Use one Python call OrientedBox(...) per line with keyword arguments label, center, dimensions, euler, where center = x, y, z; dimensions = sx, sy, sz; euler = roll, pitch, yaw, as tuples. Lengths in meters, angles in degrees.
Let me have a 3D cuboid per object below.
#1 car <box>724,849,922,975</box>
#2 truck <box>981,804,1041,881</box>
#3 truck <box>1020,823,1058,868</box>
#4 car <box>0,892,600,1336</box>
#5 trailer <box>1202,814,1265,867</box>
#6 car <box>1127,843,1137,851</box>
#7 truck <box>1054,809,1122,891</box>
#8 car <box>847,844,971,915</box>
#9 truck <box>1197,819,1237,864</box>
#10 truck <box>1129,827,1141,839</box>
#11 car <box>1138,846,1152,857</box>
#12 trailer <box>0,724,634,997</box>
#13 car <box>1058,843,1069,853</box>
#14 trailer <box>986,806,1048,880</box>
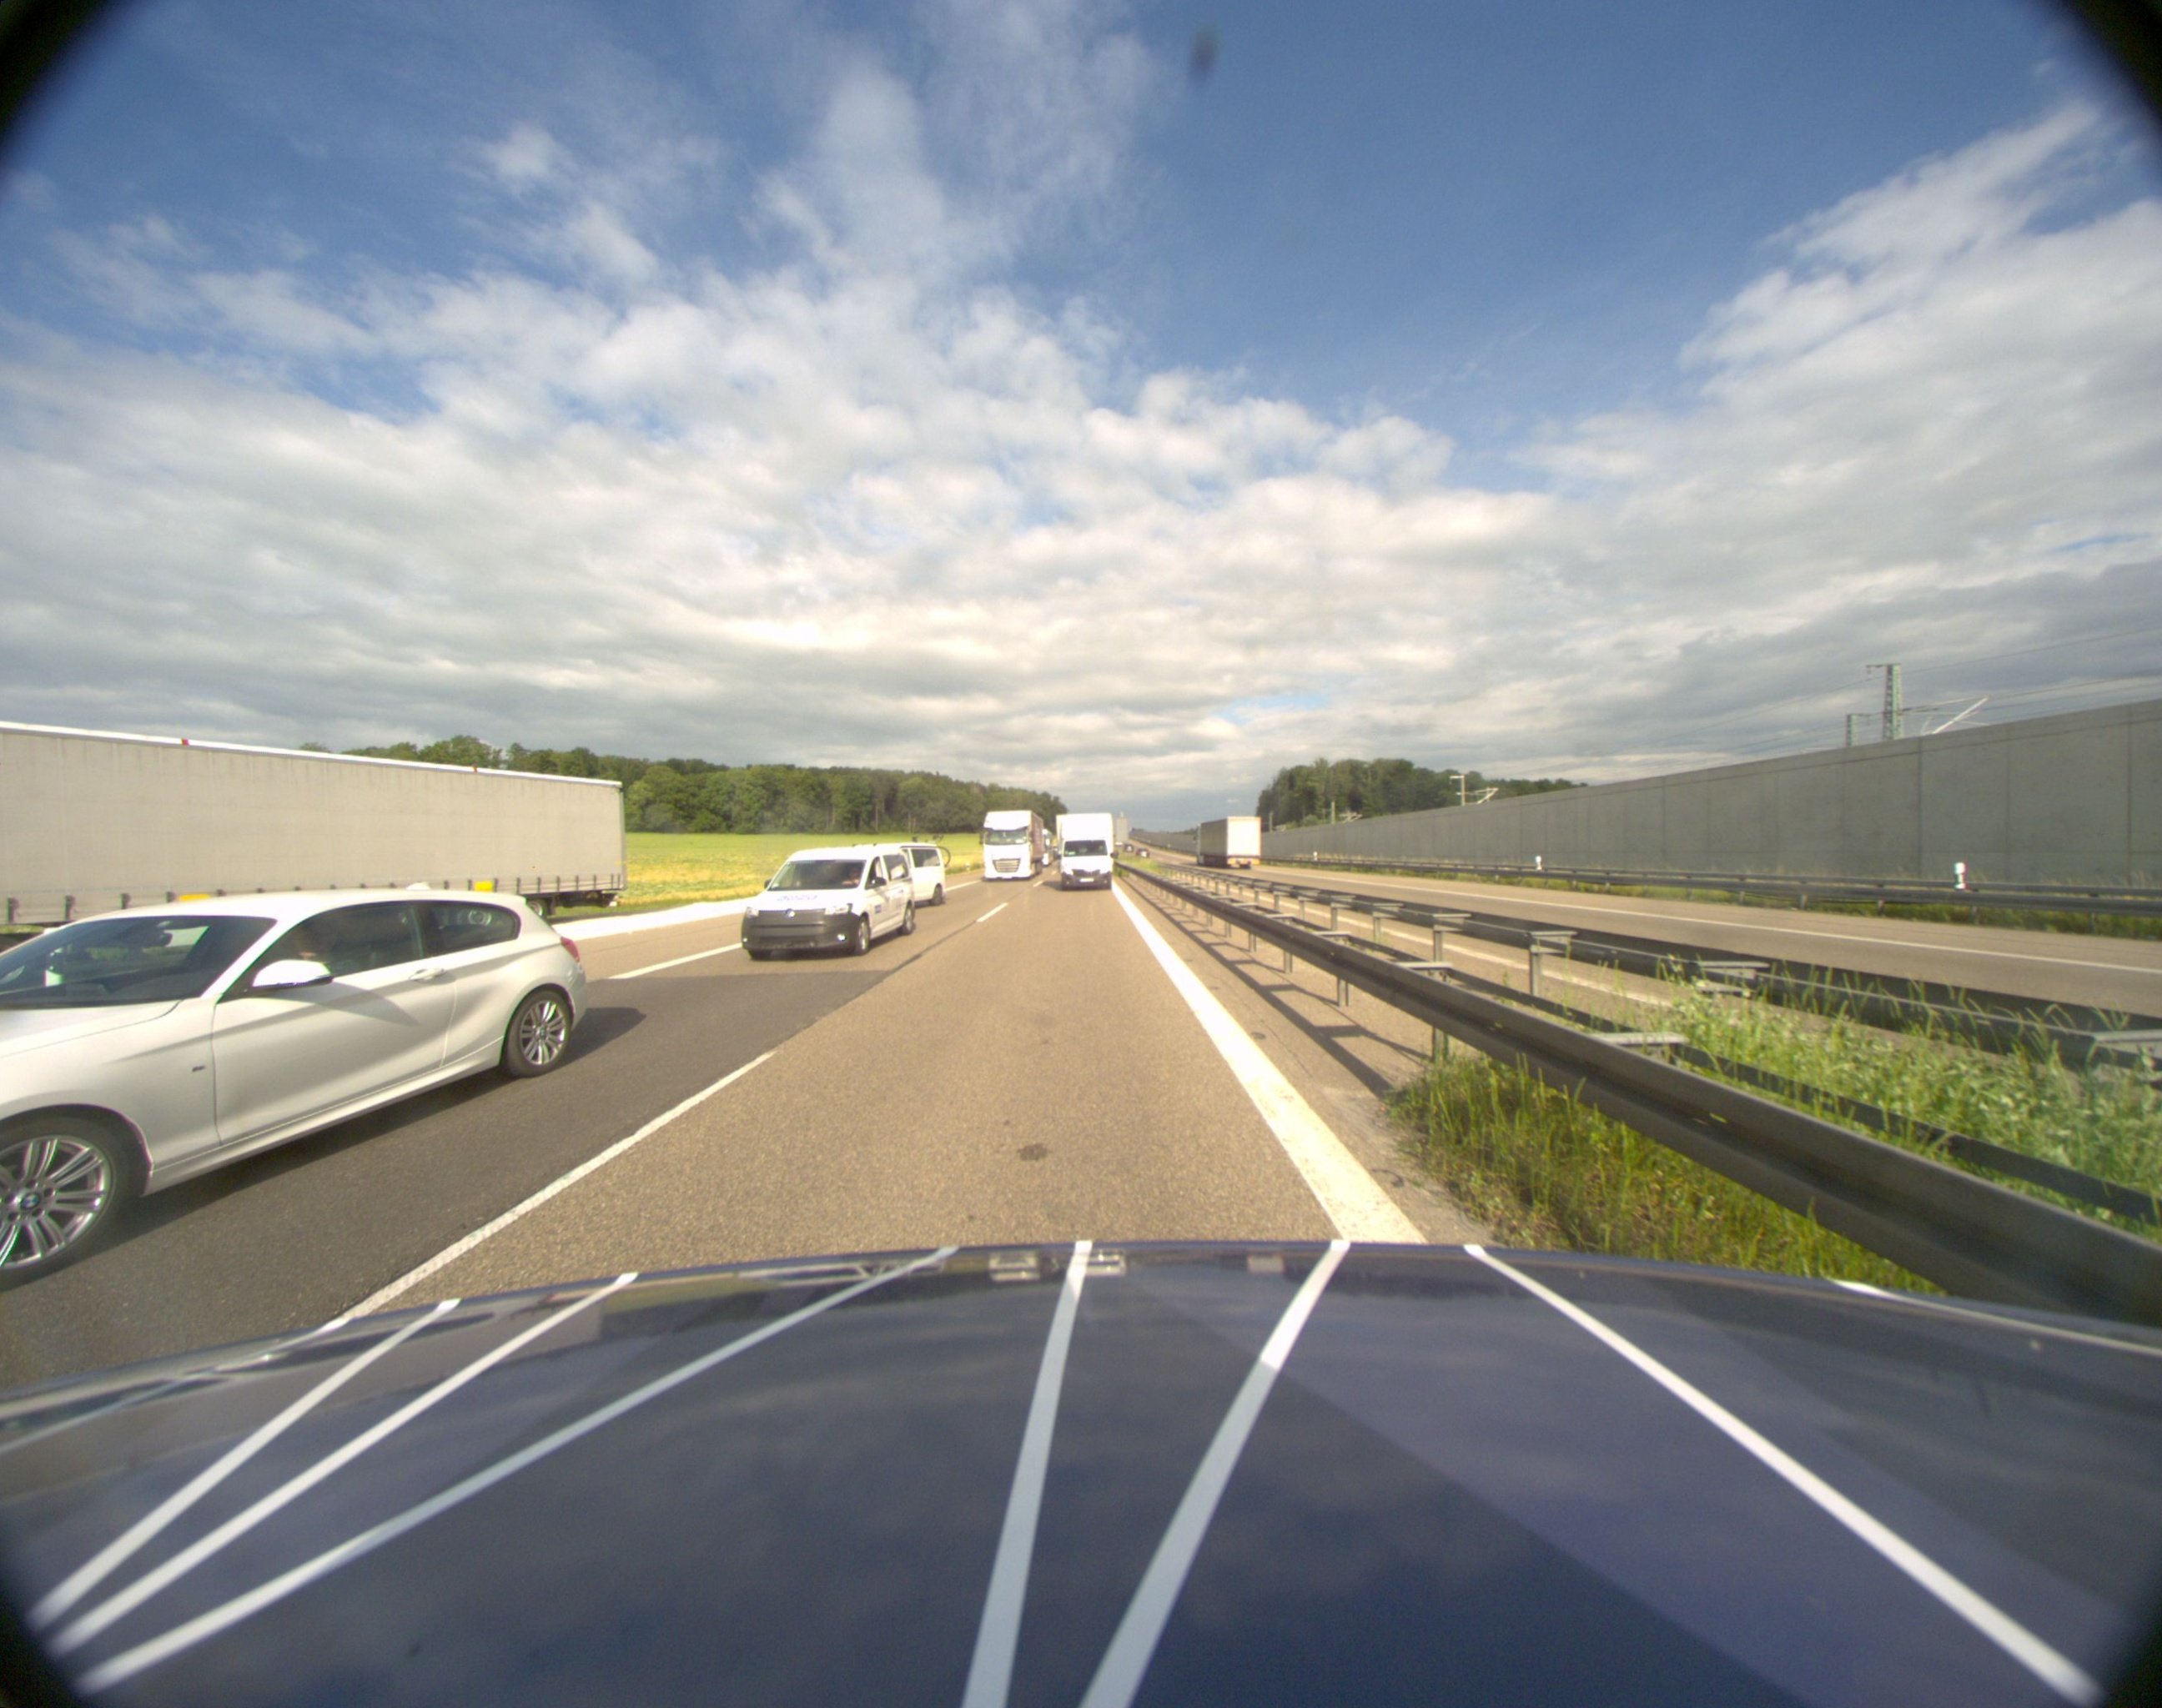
OrientedBox(label="car", center=(-4.243, 0.828, 13.396), dimensions=(1.729, 1.746, 4.702), euler=(-3, 0, 1))
OrientedBox(label="truck", center=(-3.994, -0.684, 44.503), dimensions=(2.736, 4.150, 5.766), euler=(-2, 1, 0))
OrientedBox(label="truck", center=(-4.077, -0.861, 76.460), dimensions=(2.946, 4.094, 12.523), euler=(-1, 0, 0))
OrientedBox(label="car", center=(-4.809, 1.067, 4.053), dimensions=(1.708, 1.424, 4.232), euler=(-2, 0, 1))
OrientedBox(label="trailer", center=(12.689, -1.103, 64.722), dimensions=(2.690, 4.014, 13.790), euler=(-1, 0, 0))
OrientedBox(label="car", center=(9.814, -1.320, 146.128), dimensions=(1.720, 1.586, 4.449), euler=(-1, 0, 1))
OrientedBox(label="truck", center=(0.317, -0.185, 35.190), dimensions=(2.500, 3.082, 12.037), euler=(-2, 0, 0))
OrientedBox(label="car", center=(-5.218, 0.695, 23.969), dimensions=(1.798, 1.914, 5.270), euler=(-2, 0, 10))
OrientedBox(label="truck", center=(12.754, -1.166, 71.656), dimensions=(2.692, 4.045, 5.878), euler=(-1, 1, 1))
OrientedBox(label="truck", center=(18.548, -7.220, 262.373), dimensions=(2.952, 4.037, 11.745), euler=(-2, 1, 0))
OrientedBox(label="car", center=(8.779, -0.376, 104.396), dimensions=(1.637, 1.393, 3.896), euler=(-1, 0, 0))
OrientedBox(label="trailer", center=(-16.511, 0.083, 16.187), dimensions=(2.739, 4.136, 13.843), euler=(-2, 0, 16))
OrientedBox(label="car", center=(-3.084, -1.018, 137.860), dimensions=(1.707, 1.746, 4.676), euler=(-3, 0, 1))
OrientedBox(label="trailer", center=(-3.967, -0.791, 50.504), dimensions=(2.742, 4.137, 14.016), euler=(-2, 1, 0))
